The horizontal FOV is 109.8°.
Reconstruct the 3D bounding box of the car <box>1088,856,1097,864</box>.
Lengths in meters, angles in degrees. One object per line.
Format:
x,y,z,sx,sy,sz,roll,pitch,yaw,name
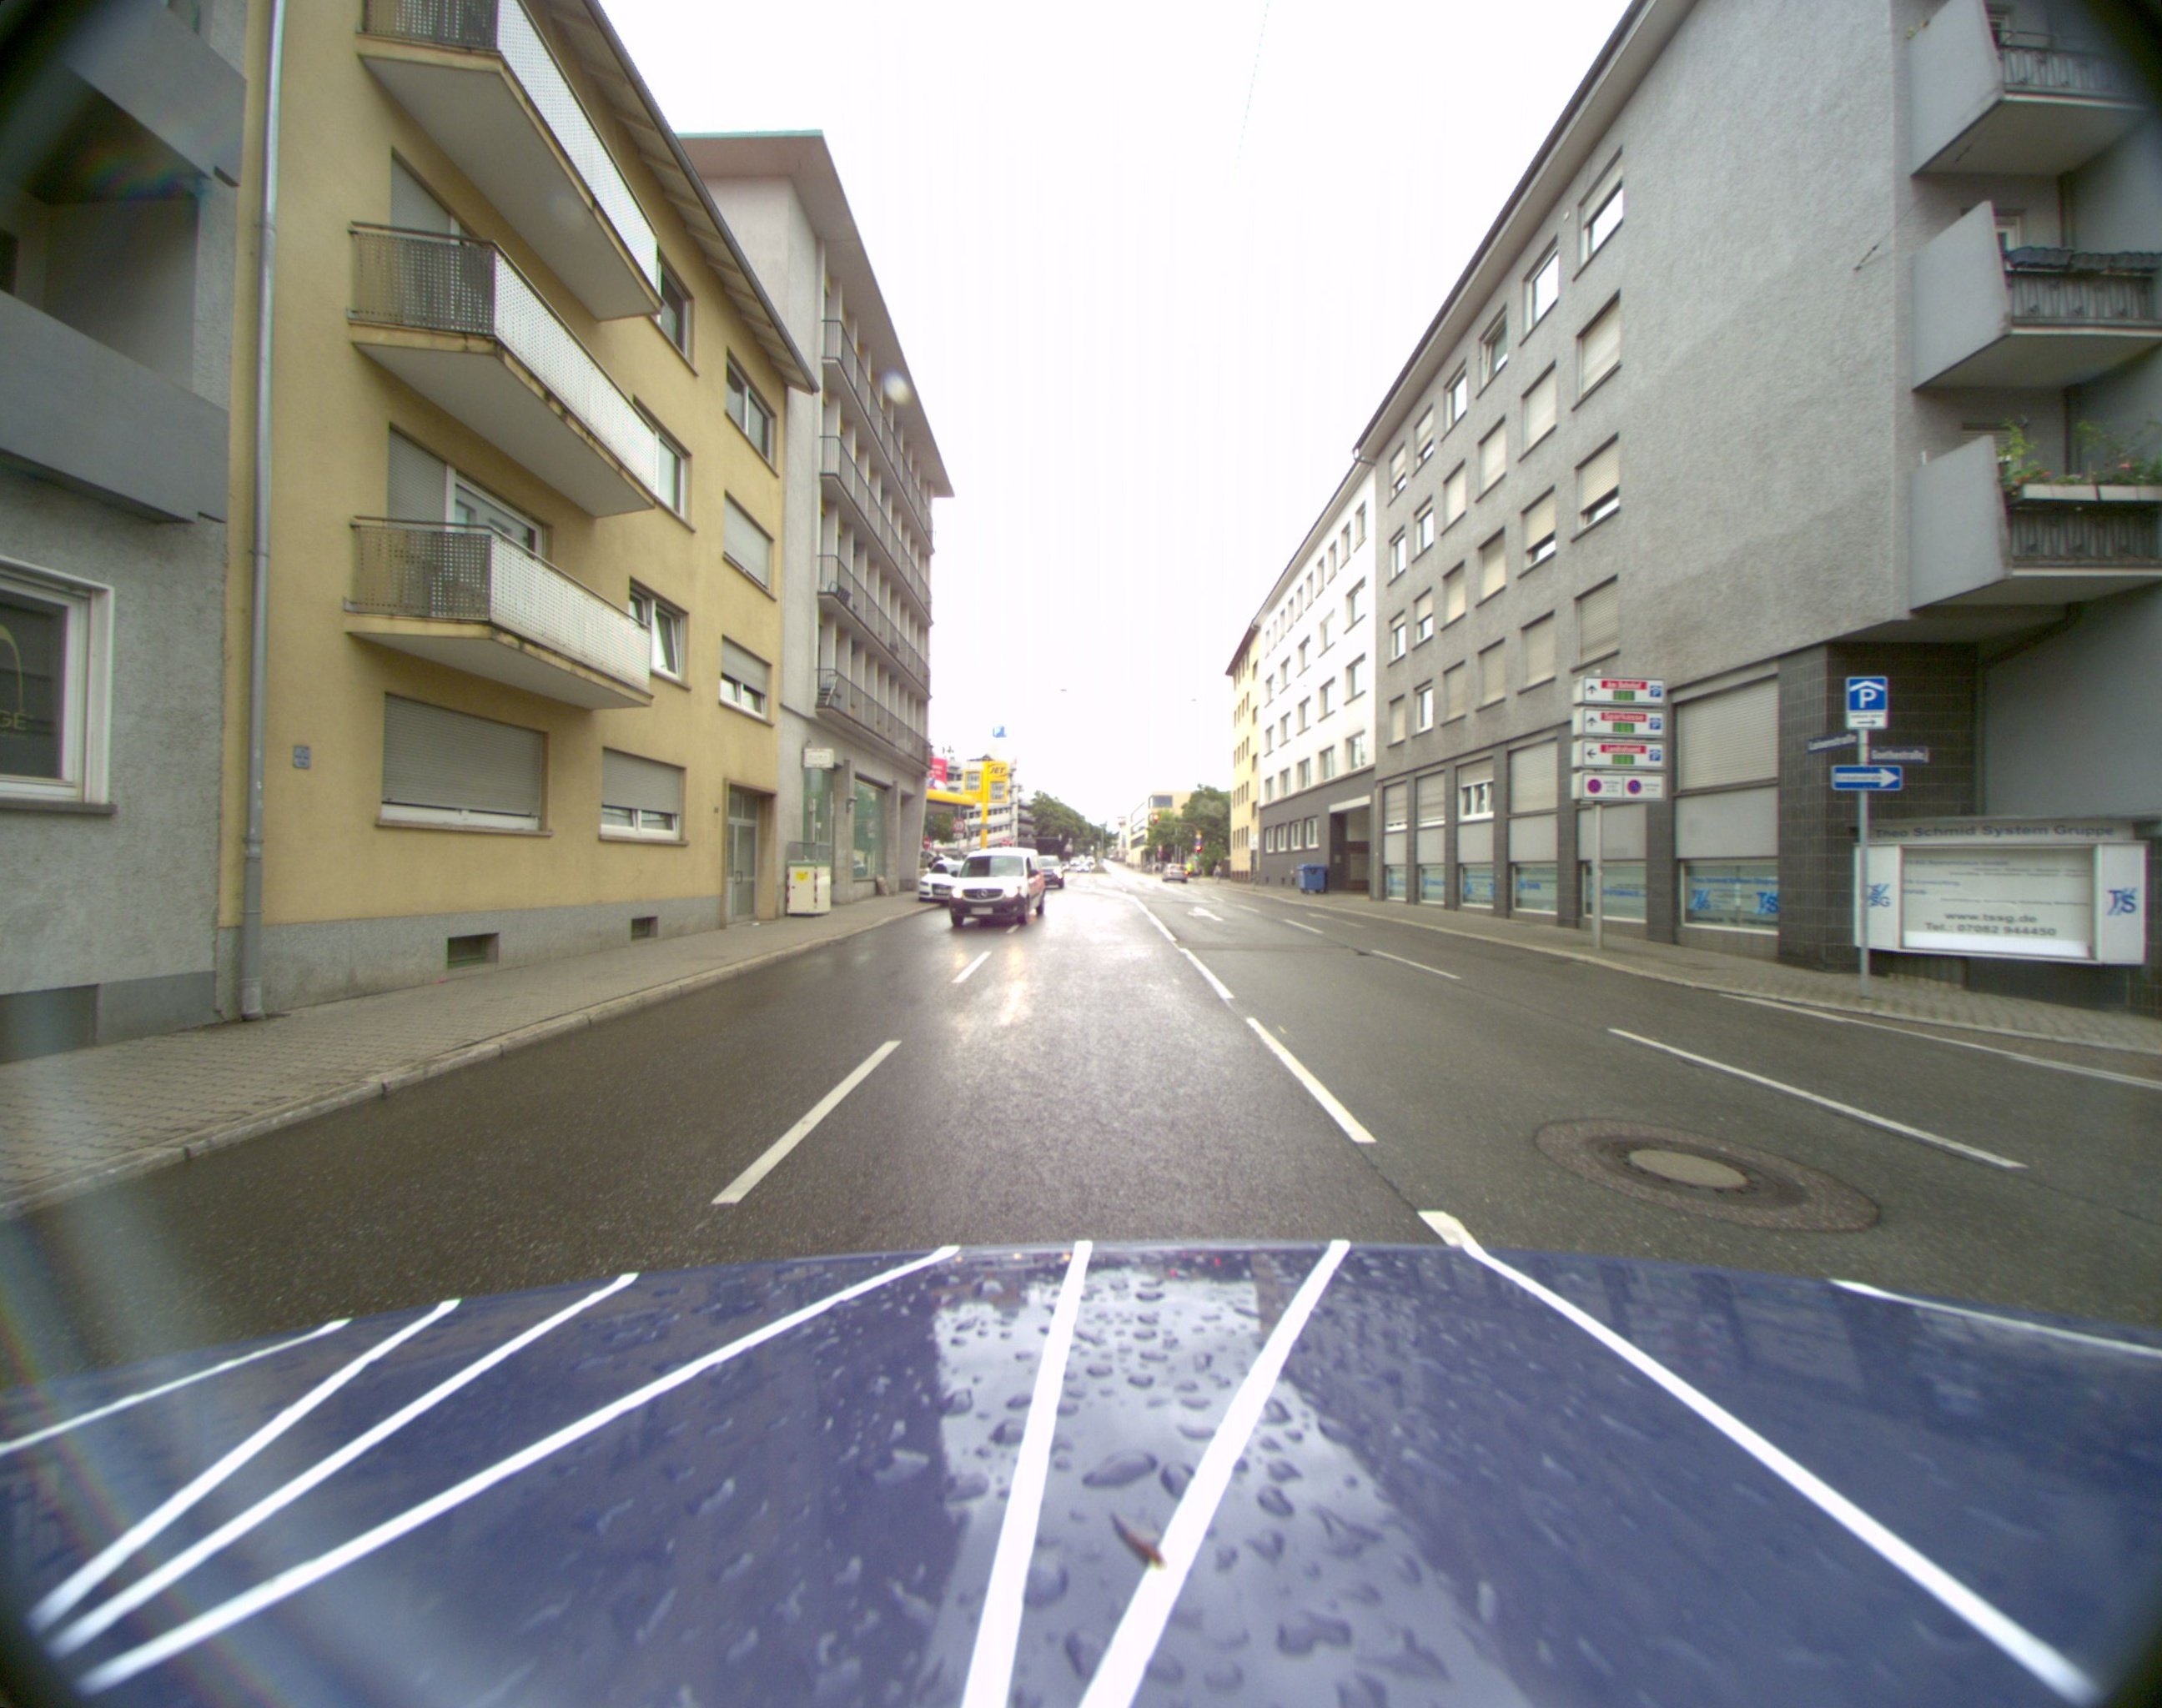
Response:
2.797,1.483,188.015,1.998,1.736,3.999,-2,1,1,car

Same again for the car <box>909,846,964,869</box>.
-10.266,0.288,53.995,3.989,1.465,1.775,-2,0,43,car

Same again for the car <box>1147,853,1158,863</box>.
15.739,0.856,167.463,1.998,1.863,3.999,-2,1,1,car

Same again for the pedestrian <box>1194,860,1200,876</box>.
10.542,1.259,68.877,0.442,1.362,0.535,3,1,2,pedestrian

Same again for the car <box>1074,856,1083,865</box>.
-0.690,1.571,180.732,1.998,2.002,3.999,-2,1,1,car

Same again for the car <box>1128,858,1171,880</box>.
6.338,1.363,70.526,3.794,1.823,1.692,-3,0,2,car

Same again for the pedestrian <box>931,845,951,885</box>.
-6.248,0.469,33.944,0.679,1.745,0.888,1,1,2,pedestrian

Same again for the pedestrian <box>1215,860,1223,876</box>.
10.309,1.033,56.779,0.582,1.143,0.407,3,1,10,pedestrian

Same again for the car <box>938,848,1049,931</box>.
-2.000,0.771,18.910,1.945,1.764,4.747,-2,0,3,car

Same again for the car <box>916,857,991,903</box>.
-4.349,0.848,26.509,1.803,1.427,4.166,1,0,1,car

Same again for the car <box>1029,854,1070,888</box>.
-1.522,0.798,37.879,1.771,1.571,4.000,-1,0,1,car

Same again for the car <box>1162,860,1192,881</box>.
7.499,1.256,59.551,1.883,1.580,4.373,0,0,1,car

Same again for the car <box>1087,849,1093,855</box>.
3.107,-0.570,257.999,1.998,2.002,3.999,-2,1,1,car

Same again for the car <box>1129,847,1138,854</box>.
13.183,-0.795,190.309,1.998,1.683,4.000,-2,1,2,car

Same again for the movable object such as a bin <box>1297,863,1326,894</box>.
10.356,1.078,34.200,0.946,1.325,1.096,-3,0,1,movable object such as a bin
